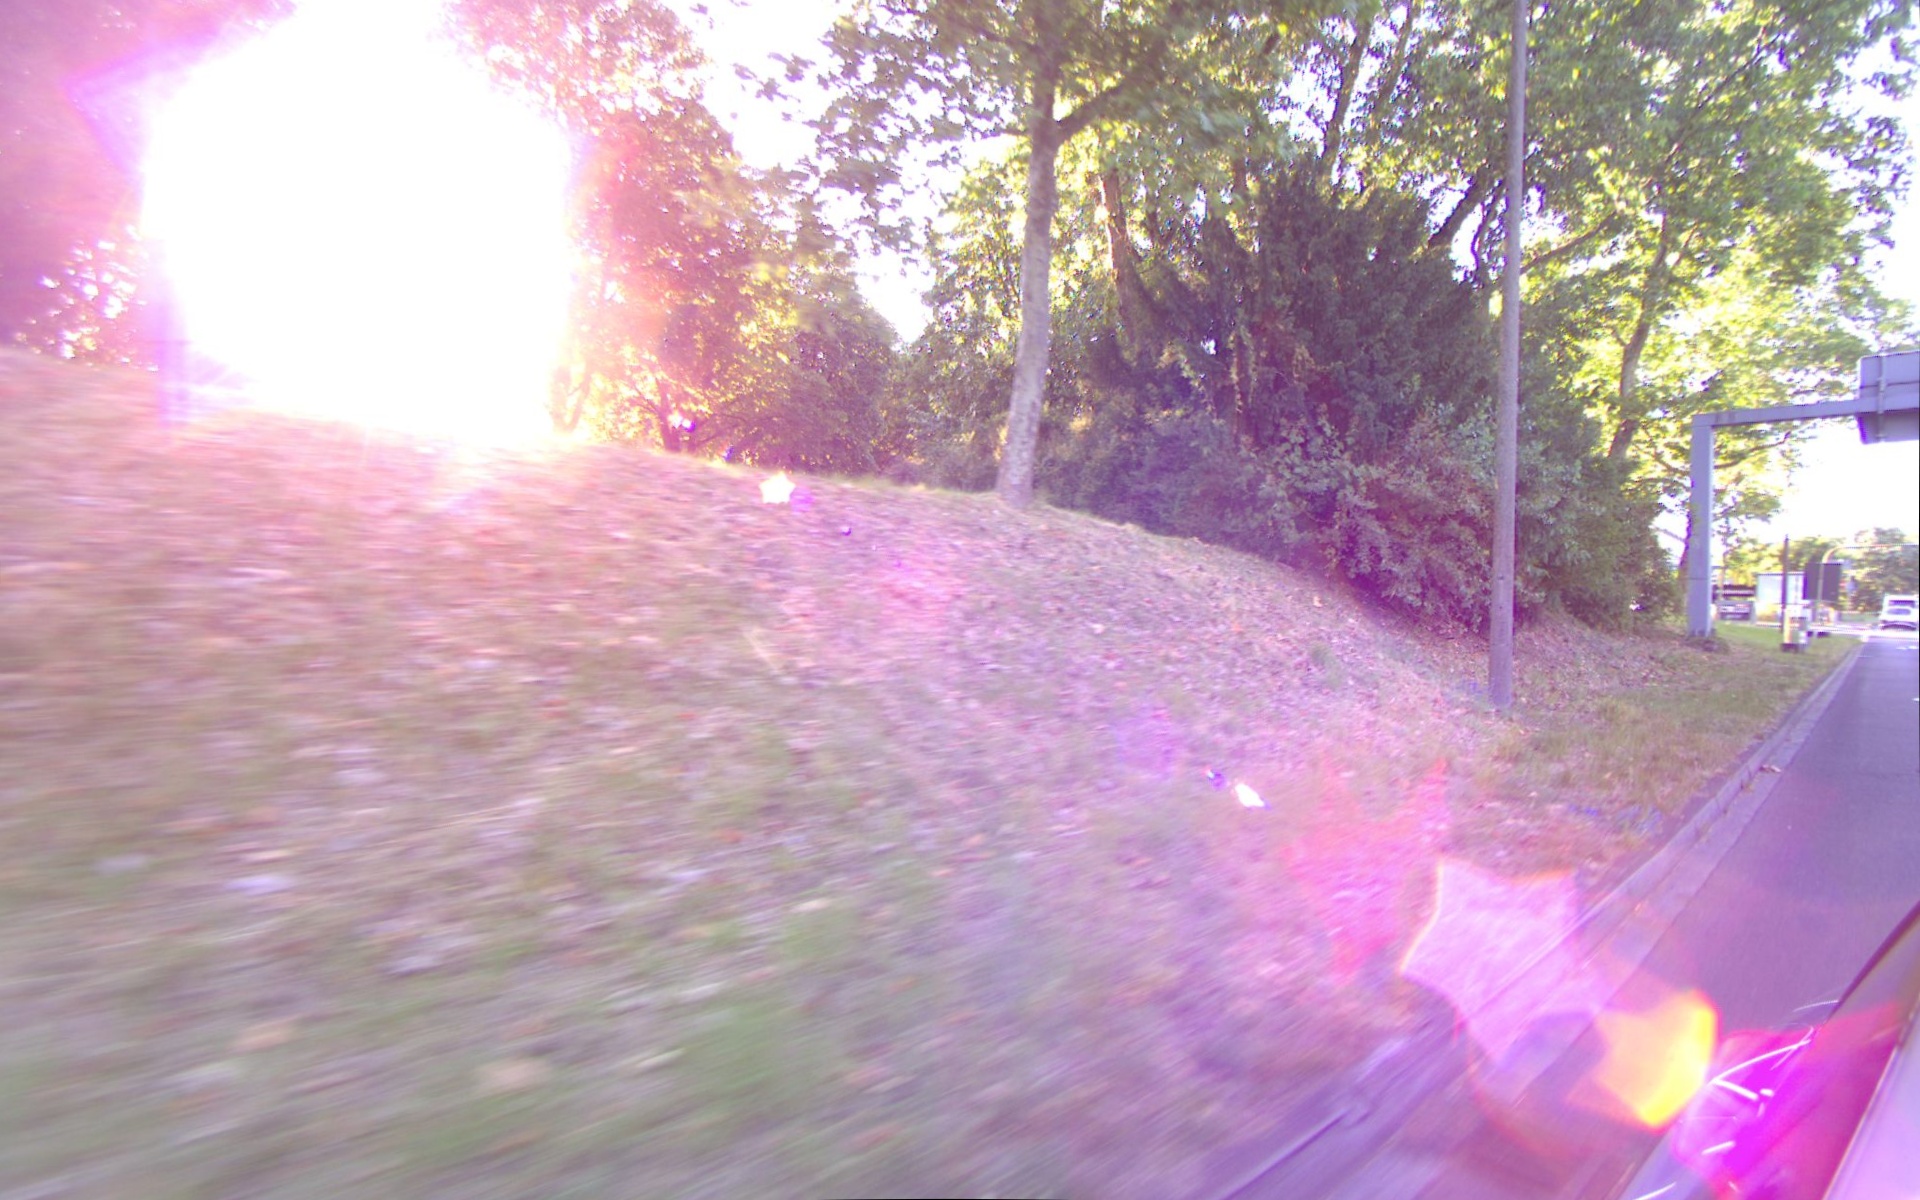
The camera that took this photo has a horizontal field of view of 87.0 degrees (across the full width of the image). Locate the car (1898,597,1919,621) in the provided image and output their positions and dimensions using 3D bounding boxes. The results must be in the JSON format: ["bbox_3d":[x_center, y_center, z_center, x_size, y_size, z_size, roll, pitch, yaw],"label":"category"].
[{"bbox_3d":[66.908,0.669,70.736,1.870,1.638,4.477,4,2,43],"label":"car"}]

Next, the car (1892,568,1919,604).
[{"bbox_3d":[73.015,-1.021,77.618,2.004,2.562,5.782,4,2,44],"label":"car"}]
